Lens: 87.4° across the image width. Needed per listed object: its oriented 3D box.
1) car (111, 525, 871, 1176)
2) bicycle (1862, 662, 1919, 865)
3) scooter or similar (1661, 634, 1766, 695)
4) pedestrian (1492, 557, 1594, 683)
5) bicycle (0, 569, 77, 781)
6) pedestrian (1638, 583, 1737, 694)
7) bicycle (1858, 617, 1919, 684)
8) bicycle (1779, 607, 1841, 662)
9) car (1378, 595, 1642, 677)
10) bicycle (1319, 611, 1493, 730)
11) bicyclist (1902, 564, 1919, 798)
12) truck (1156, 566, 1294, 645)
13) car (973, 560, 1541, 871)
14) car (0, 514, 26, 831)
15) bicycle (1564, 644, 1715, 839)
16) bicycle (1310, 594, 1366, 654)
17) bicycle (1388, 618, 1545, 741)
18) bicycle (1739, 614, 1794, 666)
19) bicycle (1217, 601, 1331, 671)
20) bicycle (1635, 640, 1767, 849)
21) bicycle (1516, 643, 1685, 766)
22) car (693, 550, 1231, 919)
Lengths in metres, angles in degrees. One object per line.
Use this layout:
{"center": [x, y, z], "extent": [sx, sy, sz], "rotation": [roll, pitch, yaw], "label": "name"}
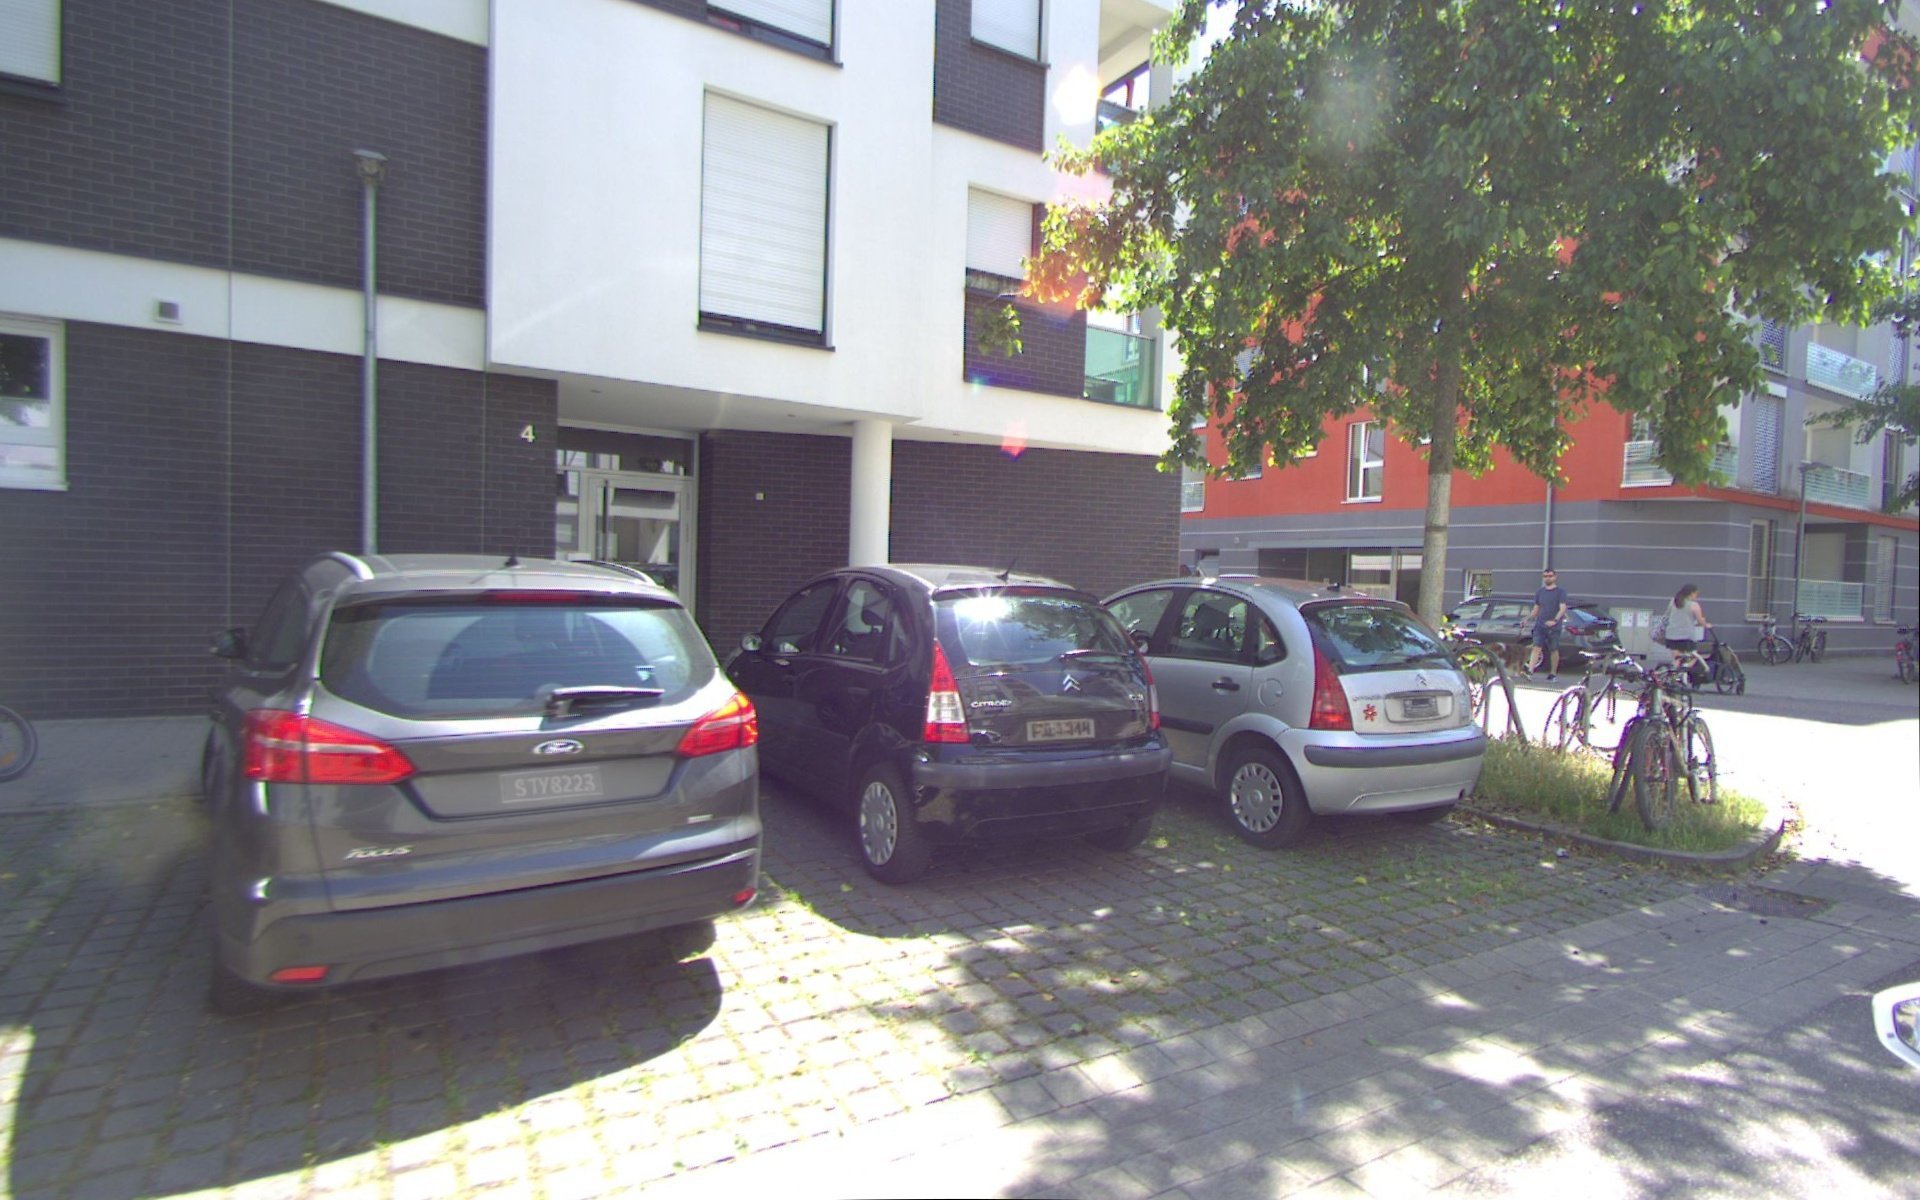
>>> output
{"center": [-2.281, 0.515, 4.589], "extent": [1.939, 1.506, 4.154], "rotation": [2, 2, -34], "label": "car"}
{"center": [6.523, 0.983, 6.180], "extent": [2.017, 1.144, 0.893], "rotation": [1, 1, -32], "label": "bicycle"}
{"center": [12.484, 1.053, 16.655], "extent": [1.006, 0.900, 1.063], "rotation": [1, 1, -29], "label": "scooter or similar"}
{"center": [9.839, 0.327, 16.977], "extent": [1.115, 2.041, 1.005], "rotation": [1, 1, -28], "label": "pedestrian"}
{"center": [-6.192, 0.414, 5.643], "extent": [1.752, 1.206, 0.564], "rotation": [1, 1, -28], "label": "bicycle"}
{"center": [11.721, 0.594, 16.203], "extent": [0.822, 1.713, 0.995], "rotation": [1, 1, -30], "label": "pedestrian"}
{"center": [18.478, 0.964, 19.641], "extent": [2.197, 1.186, 0.685], "rotation": [0, 4, -31], "label": "bicycle"}
{"center": [20.446, 0.819, 24.152], "extent": [1.903, 1.256, 0.548], "rotation": [1, 1, -32], "label": "bicycle"}
{"center": [11.466, 0.663, 21.281], "extent": [1.916, 1.402, 4.545], "rotation": [-1, 2, -33], "label": "car"}
{"center": [4.915, 0.742, 11.044], "extent": [1.899, 1.189, 0.744], "rotation": [1, 1, -29], "label": "bicycle"}
{"center": [6.616, 0.530, 6.203], "extent": [0.791, 1.479, 0.949], "rotation": [1, 1, -31], "label": "bicyclist"}
{"center": [7.404, 0.077, 28.350], "extent": [1.543, 2.041, 3.709], "rotation": [-2, 3, -33], "label": "truck"}
{"center": [1.816, 0.552, 7.215], "extent": [1.810, 1.541, 3.611], "rotation": [1, 3, -30], "label": "car"}
{"center": [-4.768, 0.435, 3.175], "extent": [1.851, 1.574, 3.917], "rotation": [1, 3, -31], "label": "car"}
{"center": [4.774, 0.904, 7.002], "extent": [1.964, 1.143, 0.429], "rotation": [1, 1, -43], "label": "bicycle"}
{"center": [9.445, 0.565, 25.184], "extent": [0.669, 1.397, 2.351], "rotation": [2, 1, 5], "label": "bicycle"}
{"center": [5.288, 0.778, 10.446], "extent": [1.822, 1.151, 0.703], "rotation": [1, 1, -37], "label": "bicycle"}
{"center": [18.269, 0.885, 22.728], "extent": [2.090, 1.122, 0.601], "rotation": [1, 2, -42], "label": "bicycle"}
{"center": [5.306, 0.590, 16.932], "extent": [2.082, 1.106, 0.704], "rotation": [1, 1, -36], "label": "bicycle"}
{"center": [4.977, 0.885, 6.705], "extent": [1.808, 1.196, 0.367], "rotation": [1, 1, -43], "label": "bicycle"}
{"center": [5.908, 0.929, 9.245], "extent": [1.656, 1.004, 0.531], "rotation": [2, 3, -29], "label": "bicycle"}
{"center": [-0.342, 0.554, 6.459], "extent": [1.778, 1.575, 3.970], "rotation": [1, 1, -28], "label": "car"}
